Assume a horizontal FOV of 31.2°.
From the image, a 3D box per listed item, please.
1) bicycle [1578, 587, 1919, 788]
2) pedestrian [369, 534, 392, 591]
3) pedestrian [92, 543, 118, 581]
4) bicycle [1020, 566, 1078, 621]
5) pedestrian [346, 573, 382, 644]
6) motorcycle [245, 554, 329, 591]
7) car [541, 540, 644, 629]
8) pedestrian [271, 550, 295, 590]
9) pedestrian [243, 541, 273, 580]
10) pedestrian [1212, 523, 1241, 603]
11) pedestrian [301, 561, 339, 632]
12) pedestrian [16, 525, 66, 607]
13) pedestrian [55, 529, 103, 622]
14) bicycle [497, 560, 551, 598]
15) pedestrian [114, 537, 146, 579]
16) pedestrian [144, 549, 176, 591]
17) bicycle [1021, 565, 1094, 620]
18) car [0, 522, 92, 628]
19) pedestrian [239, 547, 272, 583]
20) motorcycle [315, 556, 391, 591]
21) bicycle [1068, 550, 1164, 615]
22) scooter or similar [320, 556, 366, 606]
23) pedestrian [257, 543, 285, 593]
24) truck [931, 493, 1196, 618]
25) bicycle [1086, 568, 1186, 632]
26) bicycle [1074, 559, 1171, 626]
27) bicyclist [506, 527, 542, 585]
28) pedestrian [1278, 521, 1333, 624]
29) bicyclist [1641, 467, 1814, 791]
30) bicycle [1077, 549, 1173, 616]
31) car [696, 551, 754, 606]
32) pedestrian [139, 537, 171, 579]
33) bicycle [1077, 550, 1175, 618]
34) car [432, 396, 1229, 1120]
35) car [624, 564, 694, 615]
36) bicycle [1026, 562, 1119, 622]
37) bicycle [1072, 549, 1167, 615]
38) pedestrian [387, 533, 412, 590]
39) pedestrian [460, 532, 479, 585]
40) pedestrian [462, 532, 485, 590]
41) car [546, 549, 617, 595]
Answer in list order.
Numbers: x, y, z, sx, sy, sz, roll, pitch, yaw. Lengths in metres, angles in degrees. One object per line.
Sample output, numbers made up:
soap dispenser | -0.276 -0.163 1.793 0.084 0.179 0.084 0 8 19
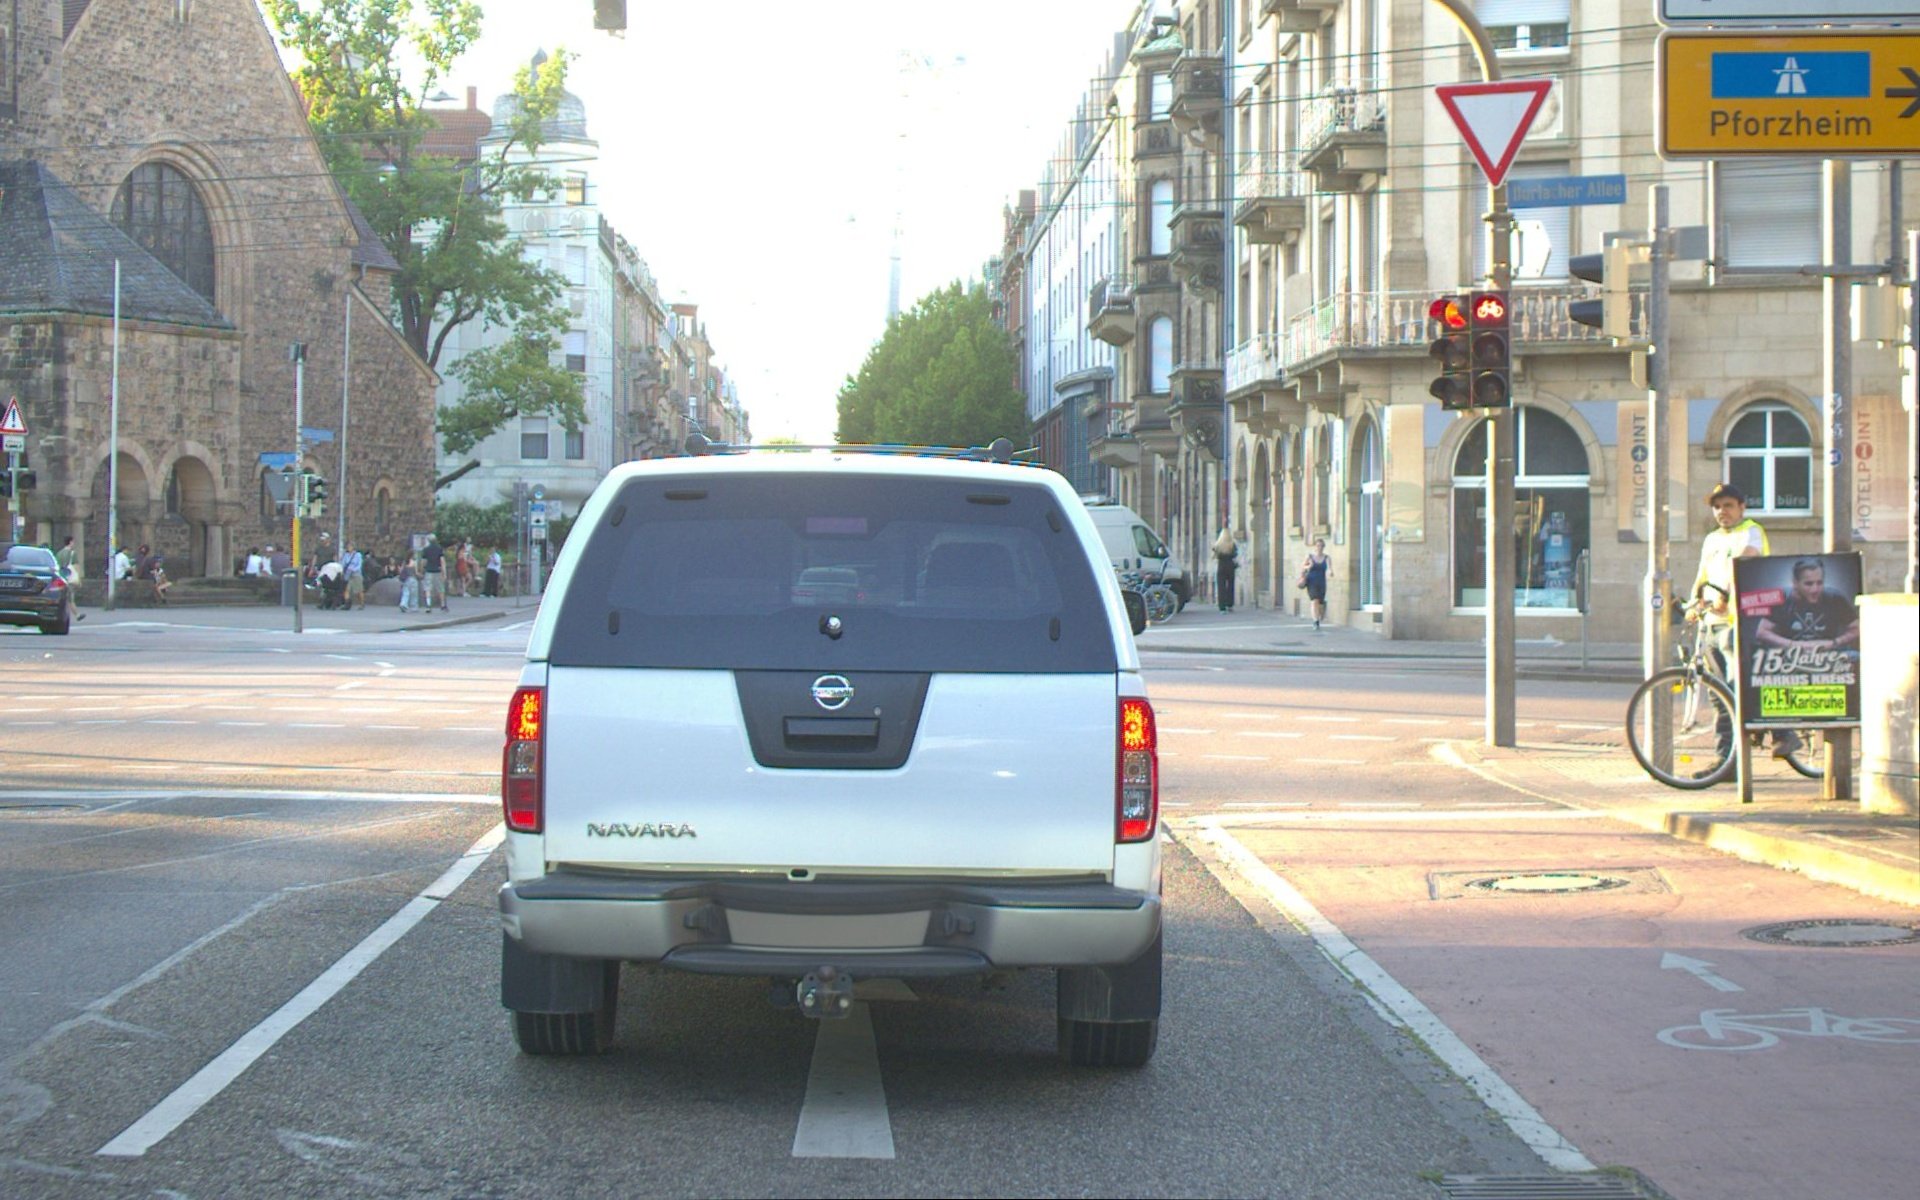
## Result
bicycle | 4.564 0.496 19.832 2.065 1.106 0.628 1 0 -33
pedestrian | -17.169 -1.109 101.860 0.642 1.690 0.562 1 0 -9
pedestrian | -22.053 -0.986 88.695 0.551 0.957 0.710 1 0 -7
bicycle | 1.756 -0.133 67.787 1.076 1.021 0.317 -3 0 -2
pedestrian | -14.477 0.203 83.492 0.634 1.693 0.602 1 0 14
motorcycle | -18.770 -0.762 95.925 2.243 0.984 0.708 1 0 -6
car | -8.356 -0.379 78.456 1.993 1.778 4.798 2 2 -3
pedestrian | -16.643 -0.740 84.544 0.521 0.957 0.479 1 0 -16
pedestrian | -17.281 -0.971 84.631 0.522 0.957 0.479 1 0 17
pedestrian | 5.567 -0.773 71.804 0.527 1.648 0.547 1 0 -1
pedestrian | -15.576 -0.083 83.682 0.634 1.693 0.602 2 -1 18
pedestrian | -18.973 -0.703 70.995 0.812 1.664 0.860 1 0 -2
pedestrian | -18.179 -0.514 70.952 0.812 1.894 0.666 1 0 -2
bicycle | -12.487 -0.606 98.427 0.599 1.040 1.945 1 0 -38
pedestrian | -19.114 -0.975 79.198 0.522 0.957 0.479 1 0 19
pedestrian | -18.631 -0.696 80.095 0.478 0.957 0.522 1 0 29
bicycle | 1.941 -0.150 68.499 1.371 1.021 0.317 -3 0 -2
car | -14.963 -0.378 54.718 1.993 1.612 4.001 1 -1 -11
pedestrian | -18.987 -0.951 92.680 0.552 0.957 0.709 1 0 20
motorcycle | -17.697 -0.767 100.241 2.167 0.984 0.593 1 0 20
bicycle | 3.174 -0.360 69.951 1.855 1.233 0.531 -3 0 -2
scooter or similar | -14.832 -0.468 82.651 0.634 1.099 1.078 4 4 16
pedestrian | -17.284 -0.798 86.278 0.478 1.241 0.523 1 0 17
truck | 2.237 -0.923 72.993 5.658 2.556 2.286 0 1 -44
bicycle | 3.403 -0.005 66.439 1.817 1.146 0.636 -3 0 -2
bicycle | 3.217 -0.147 68.090 1.817 1.233 0.478 -3 0 -2
bicyclist | -12.493 -1.262 98.440 0.599 1.639 0.963 1 0 -36
pedestrian | 6.050 -0.483 60.138 0.788 1.773 0.543 1 0 25
bicyclist | 4.401 0.164 19.719 0.696 1.818 0.628 1 0 -33
bicycle | 3.302 -0.354 68.814 1.817 1.233 0.412 -3 0 -2
car | -8.759 -0.795 128.575 1.993 2.007 4.950 0 0 -2
pedestrian | -18.488 -0.961 78.922 0.522 0.957 0.479 1 0 19
bicycle | 3.255 -0.317 67.378 1.817 1.233 0.488 -3 0 -2
car | -0.351 0.392 10.771 1.993 1.803 4.000 1 0 -1
car | -9.830 -0.360 112.543 1.993 1.552 4.769 2 1 -2
bicycle | 2.190 -0.165 66.903 1.726 1.080 0.317 -3 0 -2
bicycle | 3.223 -0.359 69.420 1.817 1.233 0.410 -3 0 -2
pedestrian | -16.957 -1.158 104.051 0.642 1.690 0.562 1 0 -1
pedestrian | -15.829 -1.339 110.892 0.560 1.690 0.645 1 0 -8
pedestrian | -15.571 -1.246 110.054 0.642 1.849 0.562 1 0 -15
car | -11.854 -0.866 107.807 1.858 1.393 4.000 1 0 -1
